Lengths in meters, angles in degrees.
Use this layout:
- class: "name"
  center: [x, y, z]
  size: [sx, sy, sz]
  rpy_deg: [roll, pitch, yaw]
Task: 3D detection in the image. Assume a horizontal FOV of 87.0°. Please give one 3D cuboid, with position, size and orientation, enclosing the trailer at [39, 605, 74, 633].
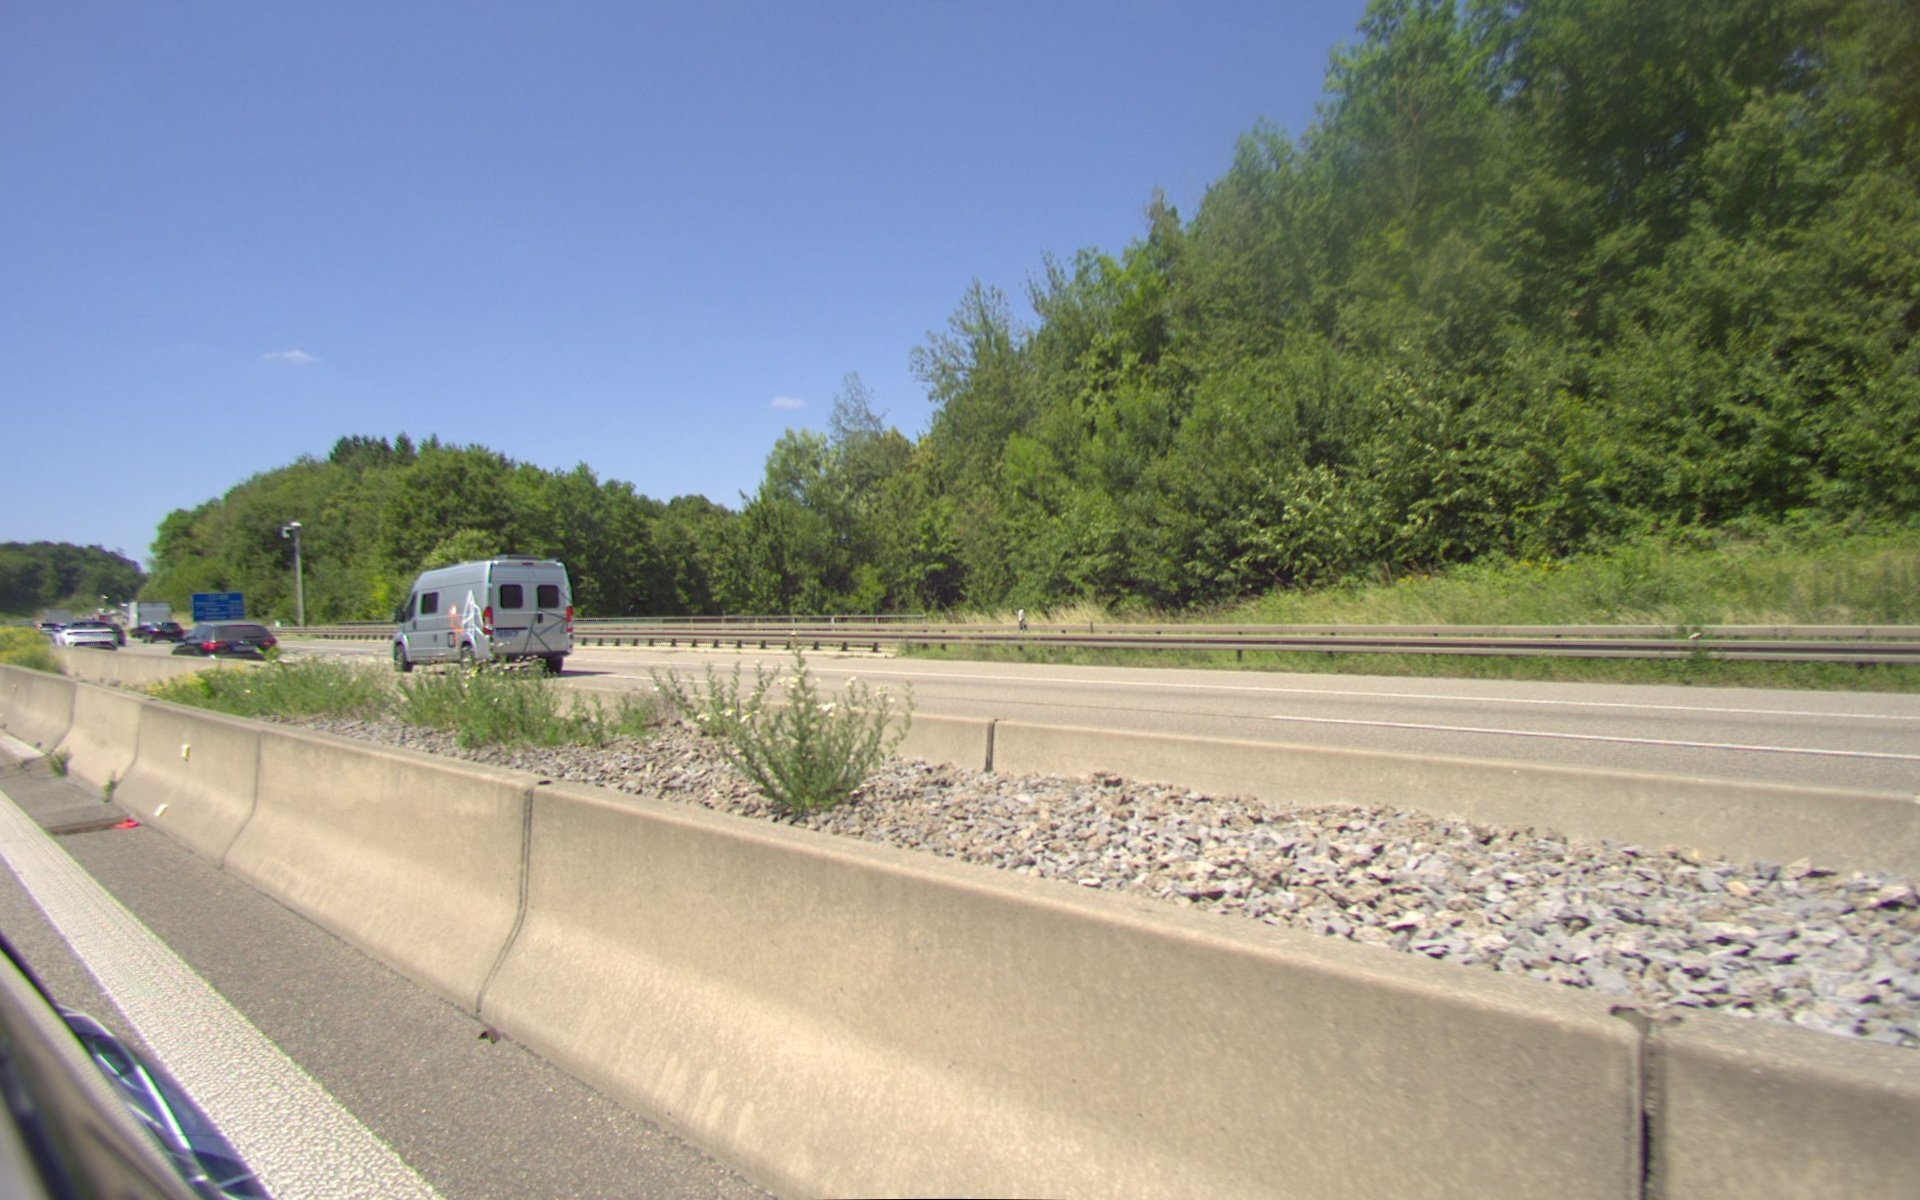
- class: "trailer"
  center: [-128.999, 2.718, 144.455]
  size: [10.170, 3.886, 2.750]
  rpy_deg: [-2, -1, 43]

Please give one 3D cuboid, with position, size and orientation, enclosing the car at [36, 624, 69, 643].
- class: "car"
  center: [-86.031, 3.157, 95.890]
  size: [4.531, 1.714, 1.971]
  rpy_deg: [-2, -1, 44]

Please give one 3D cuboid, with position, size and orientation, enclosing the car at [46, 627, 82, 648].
- class: "car"
  center: [-71.481, 2.994, 80.755]
  size: [4.001, 1.558, 1.822]
  rpy_deg: [-1, -1, 44]

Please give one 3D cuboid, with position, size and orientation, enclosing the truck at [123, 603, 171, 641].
- class: "truck"
  center: [-77.980, 2.132, 97.073]
  size: [7.317, 3.501, 2.705]
  rpy_deg: [-2, -1, 44]

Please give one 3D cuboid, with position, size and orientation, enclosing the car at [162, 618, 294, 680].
- class: "car"
  center: [-18.901, 1.198, 26.068]
  size: [4.410, 1.421, 1.855]
  rpy_deg: [-1, 0, 42]

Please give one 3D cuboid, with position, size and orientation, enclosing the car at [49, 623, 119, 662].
- class: "car"
  center: [-37.575, 1.807, 43.370]
  size: [4.256, 1.538, 1.785]
  rpy_deg: [-1, 0, 42]

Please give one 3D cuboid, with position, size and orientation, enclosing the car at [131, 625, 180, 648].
- class: "car"
  center: [-55.607, 2.469, 69.953]
  size: [4.690, 1.492, 1.972]
  rpy_deg: [-1, -1, 43]

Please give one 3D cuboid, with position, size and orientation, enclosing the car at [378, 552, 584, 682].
- class: "car"
  center: [-11.452, 0.391, 23.955]
  size: [6.060, 2.722, 2.192]
  rpy_deg: [-1, 0, 42]
